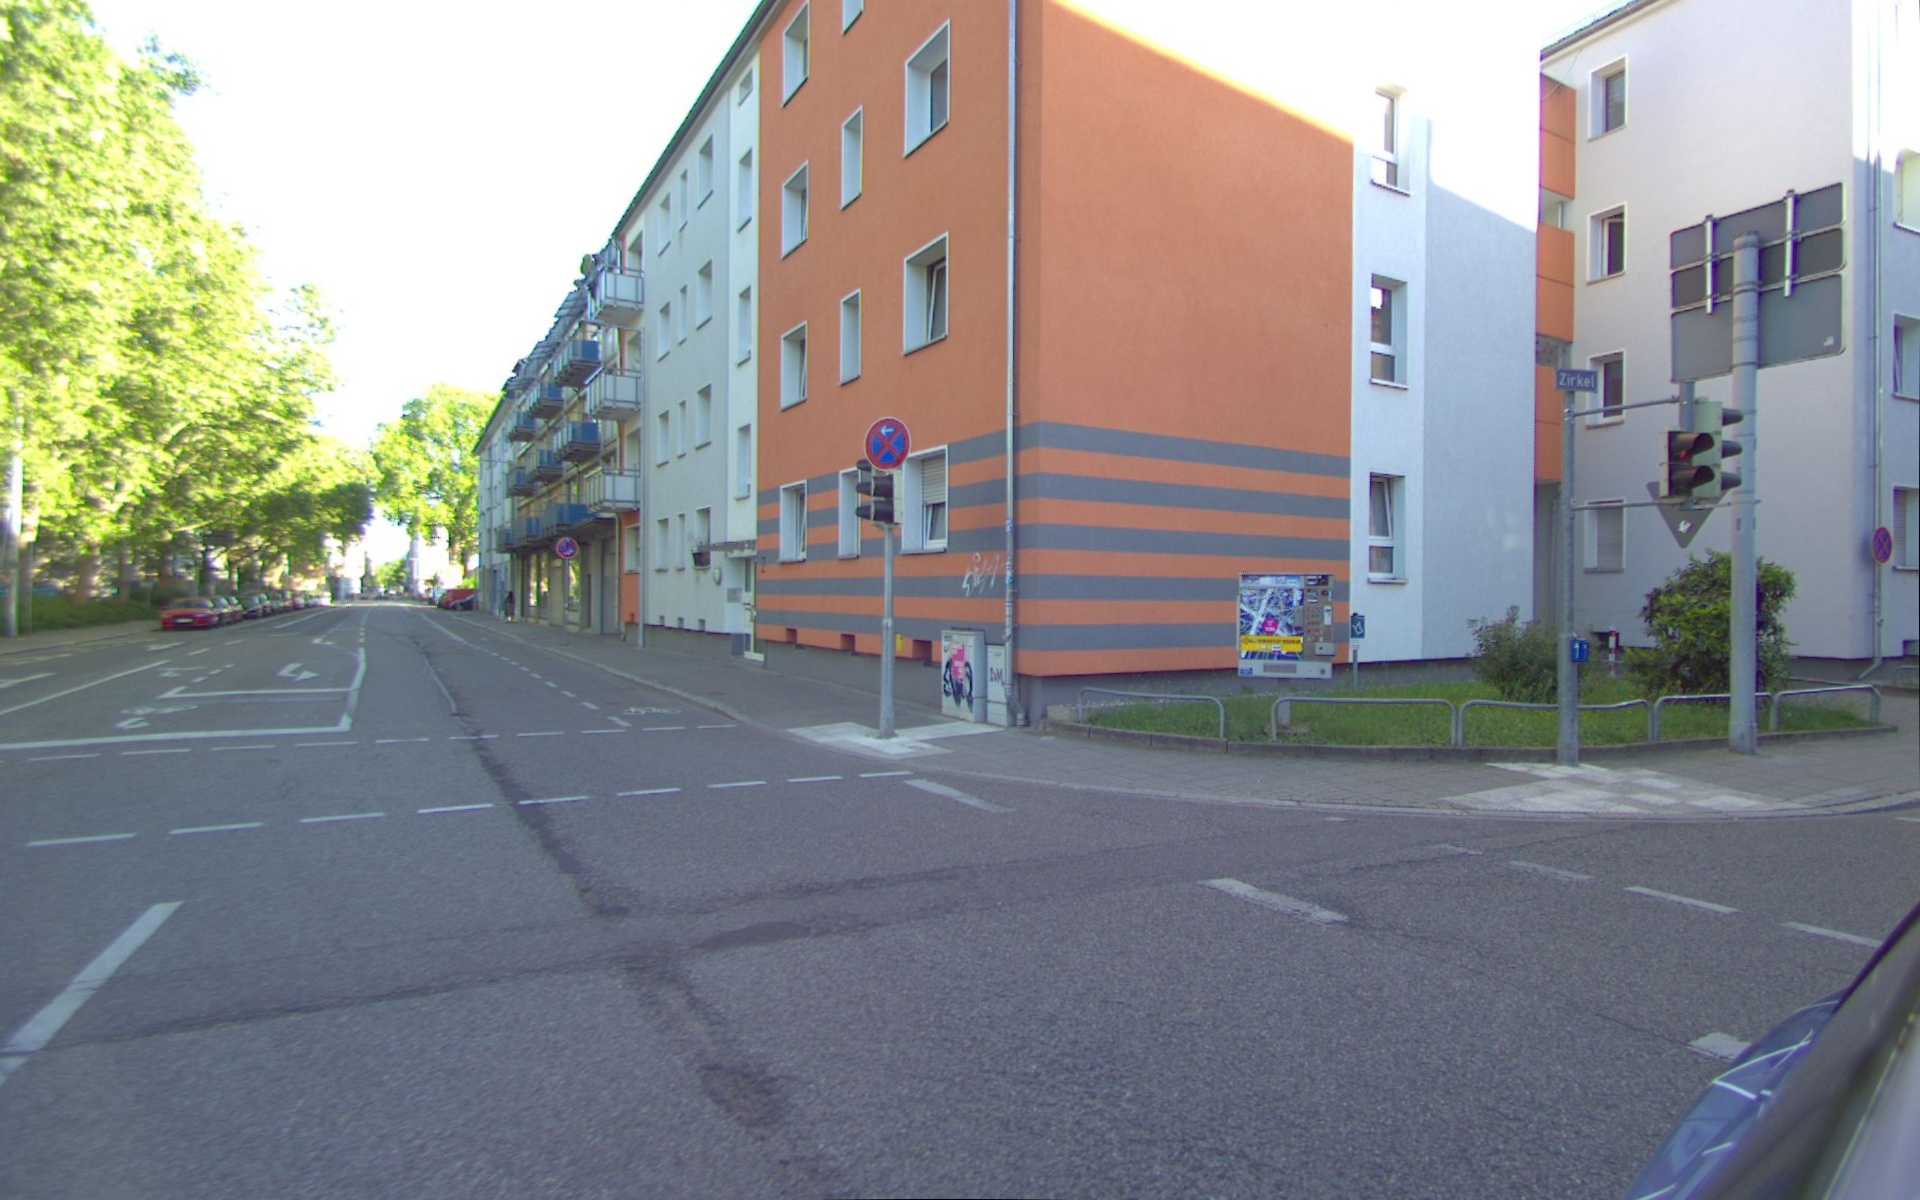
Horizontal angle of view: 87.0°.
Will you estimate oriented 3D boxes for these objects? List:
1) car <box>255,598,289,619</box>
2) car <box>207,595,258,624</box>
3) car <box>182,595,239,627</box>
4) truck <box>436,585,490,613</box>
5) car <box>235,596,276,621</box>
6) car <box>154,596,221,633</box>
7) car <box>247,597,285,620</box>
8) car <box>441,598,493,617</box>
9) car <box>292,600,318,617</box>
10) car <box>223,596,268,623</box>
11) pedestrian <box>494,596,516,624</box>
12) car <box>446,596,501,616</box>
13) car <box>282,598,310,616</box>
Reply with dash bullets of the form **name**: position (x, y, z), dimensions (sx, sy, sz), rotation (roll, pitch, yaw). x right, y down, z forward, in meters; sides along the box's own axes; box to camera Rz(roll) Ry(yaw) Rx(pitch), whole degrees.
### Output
- **car**: position (-52.678, 0.663, 77.549), dimensions (1.853, 1.565, 4.004), rotation (0, 0, -30)
- **car**: position (-40.583, 0.527, 56.520), dimensions (1.853, 1.565, 4.004), rotation (0, 0, -30)
- **car**: position (-37.974, 0.545, 51.356), dimensions (1.853, 1.565, 4.004), rotation (0, 0, -30)
- **truck**: position (-45.711, -0.083, 93.118), dimensions (4.357, 2.478, 1.803), rotation (-1, -2, -31)
- **car**: position (-46.434, 0.544, 66.781), dimensions (1.853, 1.565, 4.004), rotation (0, 0, -30)
- **car**: position (-34.333, 0.619, 45.067), dimensions (1.853, 1.565, 4.004), rotation (0, 0, -30)
- **car**: position (-48.847, 0.569, 71.307), dimensions (1.853, 1.565, 4.004), rotation (0, 0, -30)
- **car**: position (-43.030, 0.683, 88.313), dimensions (3.920, 1.569, 1.803), rotation (-1, -1, -31)
- **car**: position (-62.632, 0.839, 96.792), dimensions (1.853, 1.565, 4.004), rotation (0, 0, -30)
- **car**: position (-44.018, 0.567, 62.424), dimensions (1.853, 1.565, 4.004), rotation (0, 0, -30)
- **pedestrian**: position (-23.175, 0.505, 51.490), dimensions (0.930, 1.411, 0.955), rotation (0, 0, -30)
- **car**: position (-39.456, 0.489, 82.112), dimensions (3.920, 1.569, 1.803), rotation (-1, -1, -31)
- **car**: position (-59.940, 0.666, 91.435), dimensions (1.853, 1.565, 4.004), rotation (0, 0, -30)
